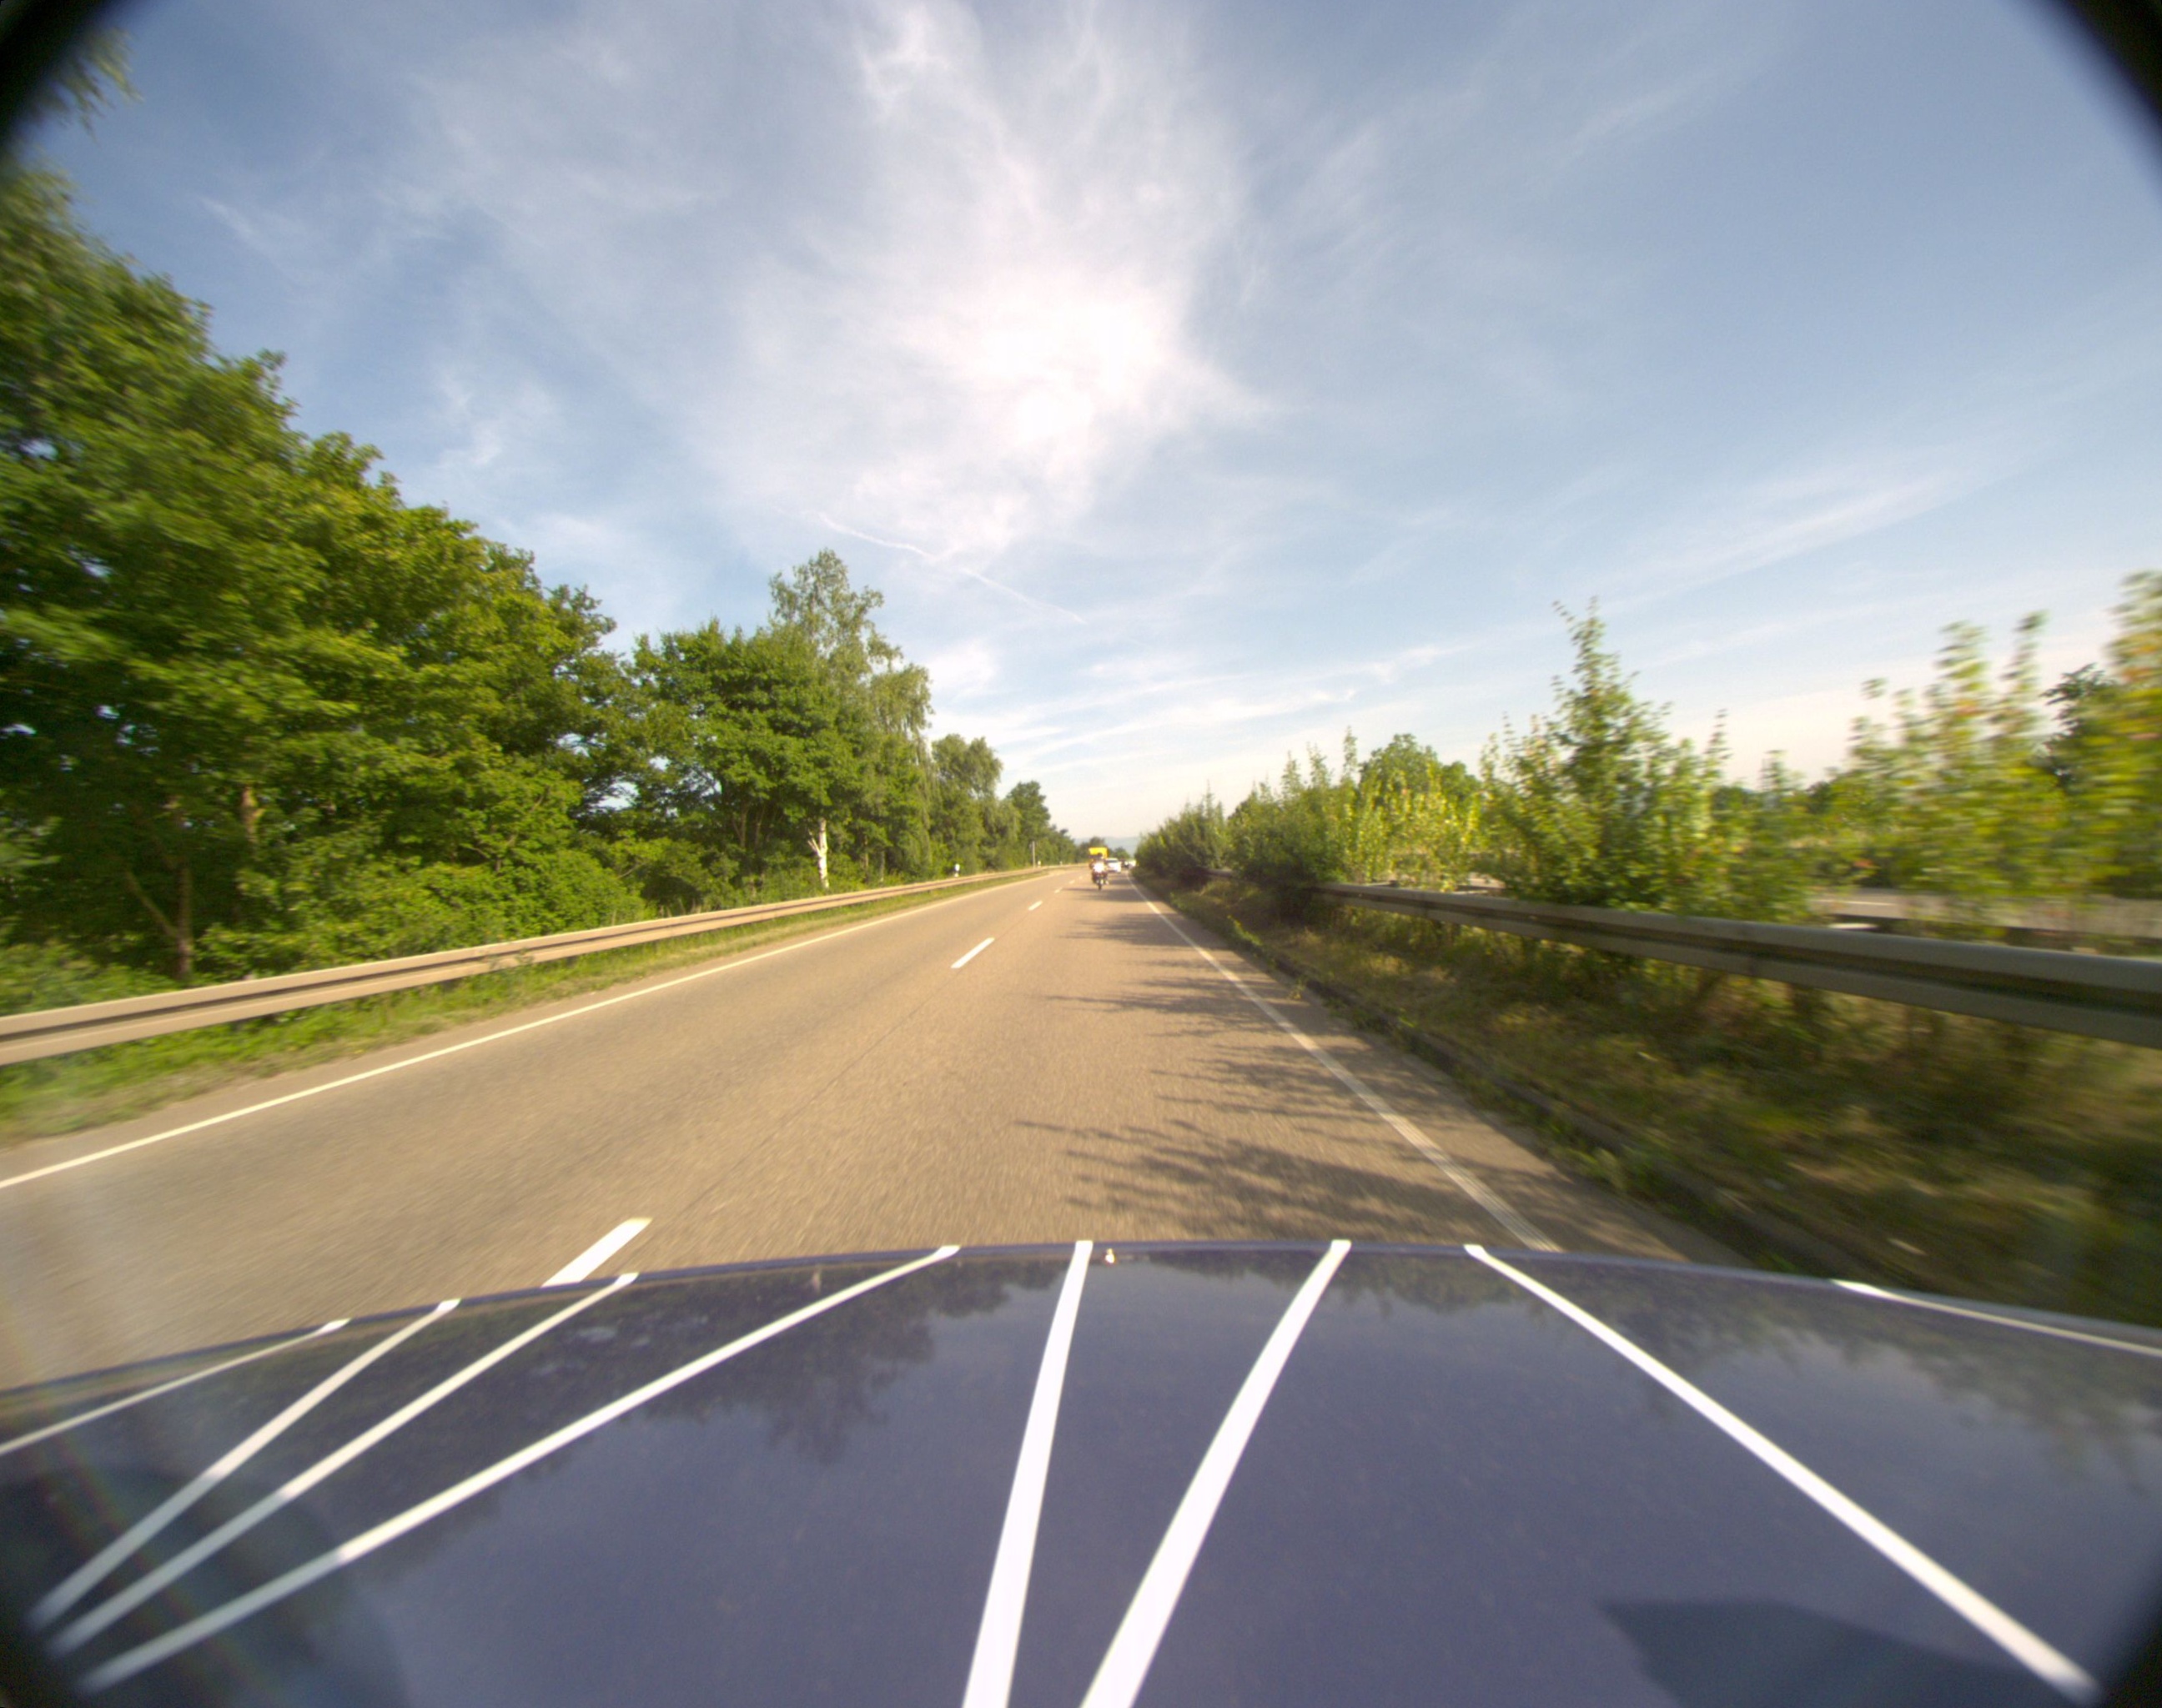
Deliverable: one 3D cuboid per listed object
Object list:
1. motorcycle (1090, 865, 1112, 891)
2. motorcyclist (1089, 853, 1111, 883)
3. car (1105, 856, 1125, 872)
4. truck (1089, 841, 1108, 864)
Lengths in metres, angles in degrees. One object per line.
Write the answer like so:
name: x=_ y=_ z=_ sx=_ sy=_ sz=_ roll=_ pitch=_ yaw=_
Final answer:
motorcycle: x=0.909 y=1.120 z=35.502 sx=0.937 sy=1.131 sz=2.582 roll=-2 pitch=0 yaw=0
motorcyclist: x=0.887 y=0.661 z=35.495 sx=0.937 sy=1.344 sz=1.143 roll=-2 pitch=0 yaw=0
car: x=3.351 y=0.978 z=75.029 sx=1.869 sy=1.454 sz=4.085 roll=-2 pitch=0 yaw=4
truck: x=2.880 y=-0.108 z=122.189 sx=2.785 sy=3.296 sz=10.494 roll=-2 pitch=-1 yaw=3
